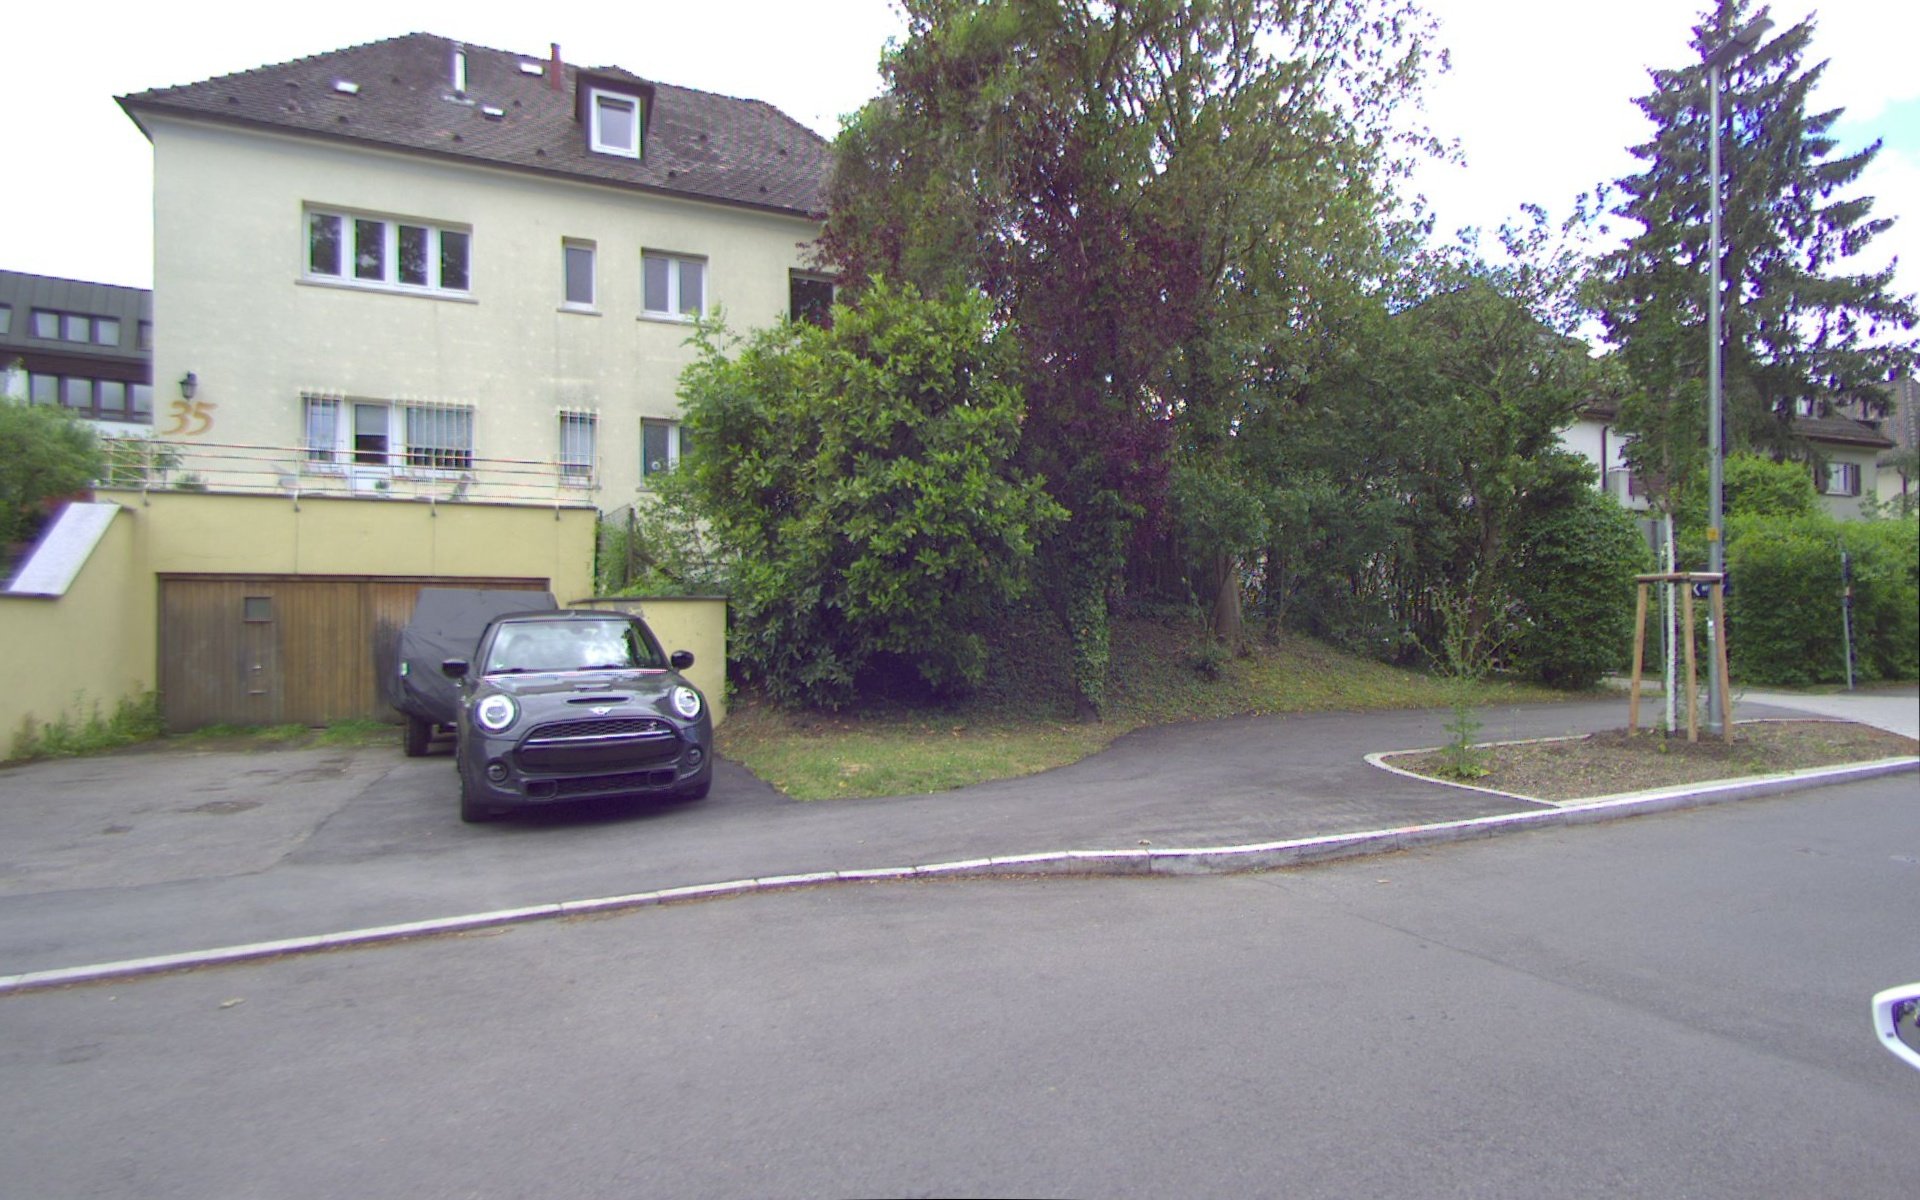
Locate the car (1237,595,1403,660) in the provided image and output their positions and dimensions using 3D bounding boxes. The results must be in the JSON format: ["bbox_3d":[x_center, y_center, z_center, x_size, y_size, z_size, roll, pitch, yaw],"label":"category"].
[{"bbox_3d":[9.652,0.695,27.206,1.846,1.514,3.967,1,1,-30],"label":"car"}]

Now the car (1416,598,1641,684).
[{"bbox_3d":[12.412,0.828,22.206,1.844,1.614,3.973,1,1,-26],"label":"car"}]

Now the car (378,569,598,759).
[{"bbox_3d":[-5.412,0.731,11.670,1.982,1.817,3.538,0,-4,-25],"label":"car"}]

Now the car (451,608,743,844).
[{"bbox_3d":[-3.141,0.784,8.177,1.755,1.403,3.808,-1,0,-27],"label":"car"}]
